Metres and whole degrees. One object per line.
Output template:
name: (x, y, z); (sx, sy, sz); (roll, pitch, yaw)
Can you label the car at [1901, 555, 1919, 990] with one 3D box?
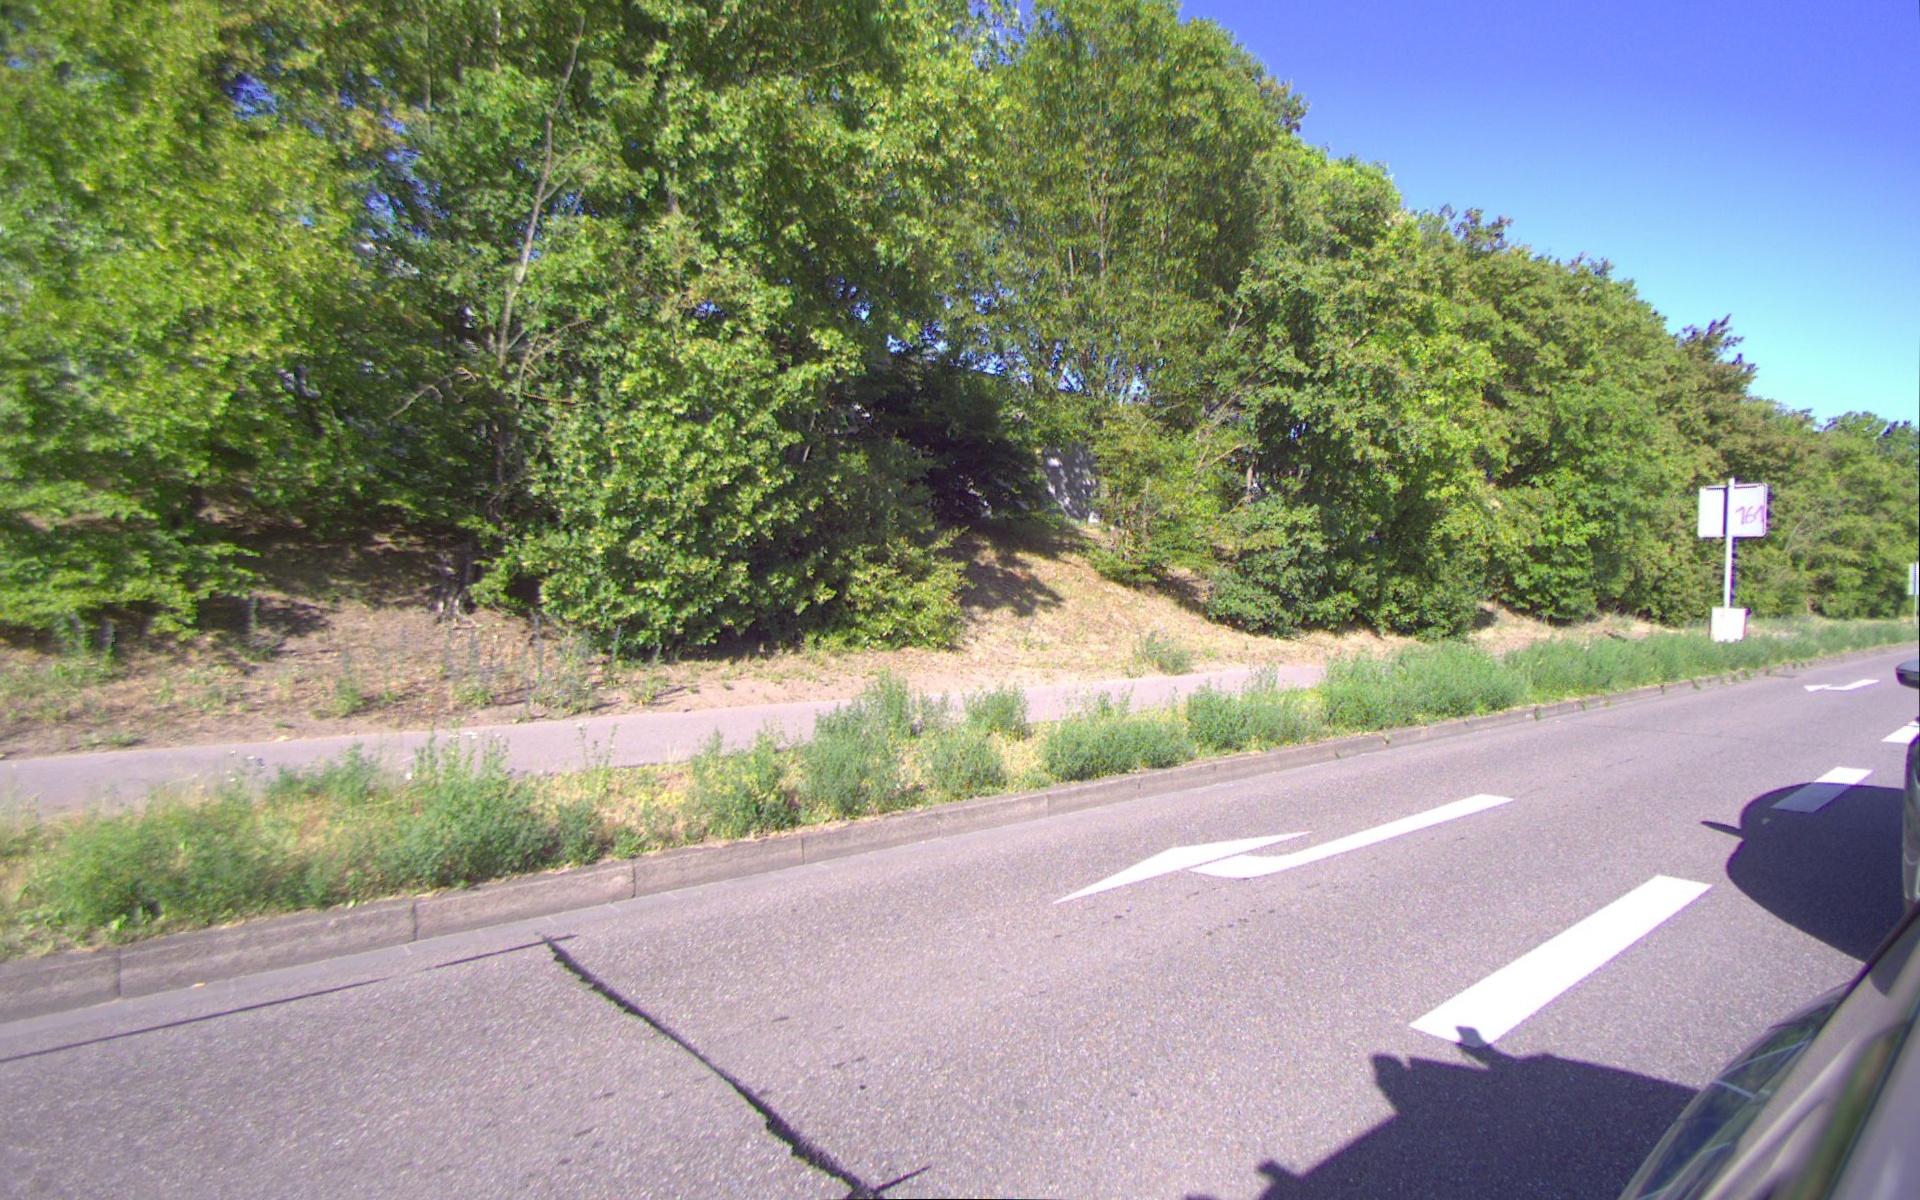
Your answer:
car: (5.601, 0.656, 4.356); (3.863, 1.617, 1.869); (0, 0, -41)
